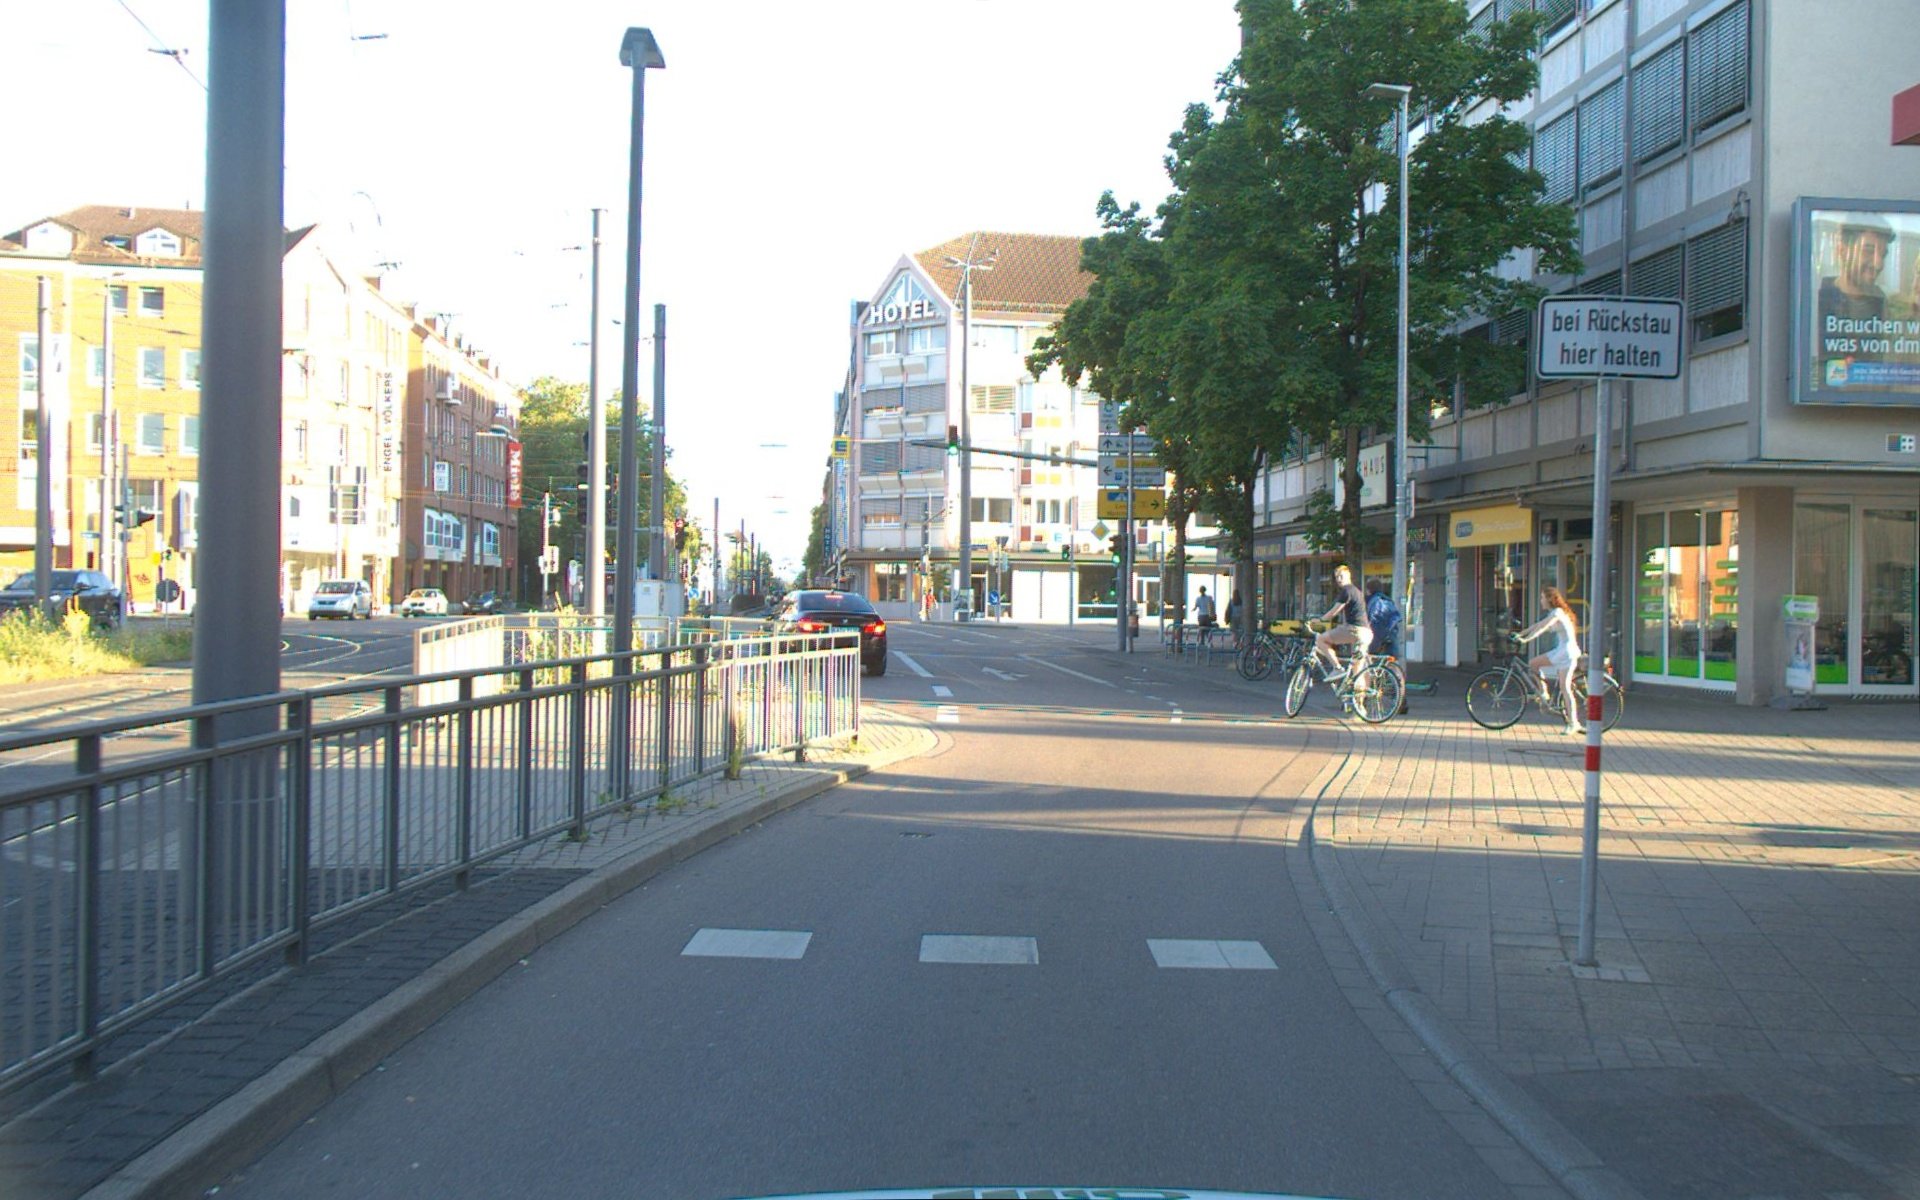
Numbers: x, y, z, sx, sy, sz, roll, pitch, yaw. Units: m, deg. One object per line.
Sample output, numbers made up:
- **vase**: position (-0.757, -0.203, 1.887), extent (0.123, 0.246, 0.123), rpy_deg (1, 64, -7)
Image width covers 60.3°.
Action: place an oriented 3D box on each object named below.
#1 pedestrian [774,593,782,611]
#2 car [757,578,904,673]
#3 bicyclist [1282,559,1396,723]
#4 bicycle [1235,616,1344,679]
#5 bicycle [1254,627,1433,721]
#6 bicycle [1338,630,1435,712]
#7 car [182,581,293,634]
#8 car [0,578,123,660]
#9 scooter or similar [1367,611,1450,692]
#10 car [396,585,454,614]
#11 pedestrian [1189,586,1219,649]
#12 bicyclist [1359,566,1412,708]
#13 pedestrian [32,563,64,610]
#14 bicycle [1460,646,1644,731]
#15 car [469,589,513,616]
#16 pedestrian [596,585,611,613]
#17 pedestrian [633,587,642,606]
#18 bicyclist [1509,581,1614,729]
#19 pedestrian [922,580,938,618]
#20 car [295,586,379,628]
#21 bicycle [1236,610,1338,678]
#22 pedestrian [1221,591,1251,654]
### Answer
- **pedestrian**: position (-21.419, 0.254, 194.947), extent (0.897, 2.049, 0.885), rpy_deg (1, 0, -7)
- **car**: position (-2.438, 0.412, 30.172), extent (1.961, 1.612, 3.983), rpy_deg (0, 0, -16)
- **bicyclist**: position (4.667, 0.485, 20.376), extent (0.833, 1.951, 1.097), rpy_deg (0, 0, -43)
- **bicycle**: position (6.149, 0.874, 30.929), extent (1.954, 1.130, 0.669), rpy_deg (1, 0, 7)
- **bicycle**: position (4.690, 0.879, 20.358), extent (0.833, 1.038, 2.045), rpy_deg (0, 0, -42)
- **bicycle**: position (5.639, 0.919, 21.947), extent (0.456, 0.987, 1.794), rpy_deg (0, 0, -14)
- **car**: position (-23.101, 0.212, 53.057), extent (1.955, 1.612, 4.581), rpy_deg (0, 0, -6)
- **car**: position (-22.839, 0.429, 41.342), extent (1.956, 1.934, 4.803), rpy_deg (0, 0, -8)
- **scooter or similar**: position (7.200, 0.821, 26.578), extent (1.253, 1.256, 0.337), rpy_deg (1, 0, 37)
- **car**: position (-27.601, -0.036, 85.483), extent (1.635, 1.473, 4.201), rpy_deg (1, 0, 0)
- **pedestrian**: position (6.661, 0.472, 45.185), extent (0.670, 1.696, 0.671), rpy_deg (1, 0, -3)
- **bicyclist**: position (5.641, 0.484, 21.945), extent (0.456, 1.862, 0.557), rpy_deg (0, 0, -14)
- **pedestrian**: position (-38.005, -0.552, 68.927), extent (0.924, 1.900, 0.835), rpy_deg (2, 0, -15)
- **bicycle**: position (6.812, 1.008, 19.121), extent (1.964, 0.896, 0.841), rpy_deg (1, 0, 18)
- **car**: position (-28.846, 0.153, 101.855), extent (1.956, 1.612, 4.471), rpy_deg (0, 0, -8)
- **pedestrian**: position (-26.382, -0.059, 122.471), extent (0.969, 2.049, 0.725), rpy_deg (2, 0, -7)
- **pedestrian**: position (-28.753, -0.311, 147.486), extent (0.709, 1.710, 0.990), rpy_deg (0, 0, -4)
- **bicyclist**: position (6.922, 0.613, 19.087), extent (1.088, 1.651, 0.841), rpy_deg (1, 0, 18)
- **pedestrian**: position (-1.484, -0.059, 81.914), extent (0.672, 1.887, 0.669), rpy_deg (1, 0, -10)
- **car**: position (-25.187, 0.261, 67.019), extent (1.953, 1.612, 4.112), rpy_deg (0, 0, -2)
- **bicycle**: position (6.293, 0.840, 31.901), extent (1.864, 1.257, 0.668), rpy_deg (1, 0, 5)
- **pedestrian**: position (7.610, 0.617, 45.619), extent (0.708, 1.696, 0.671), rpy_deg (1, 0, -3)
